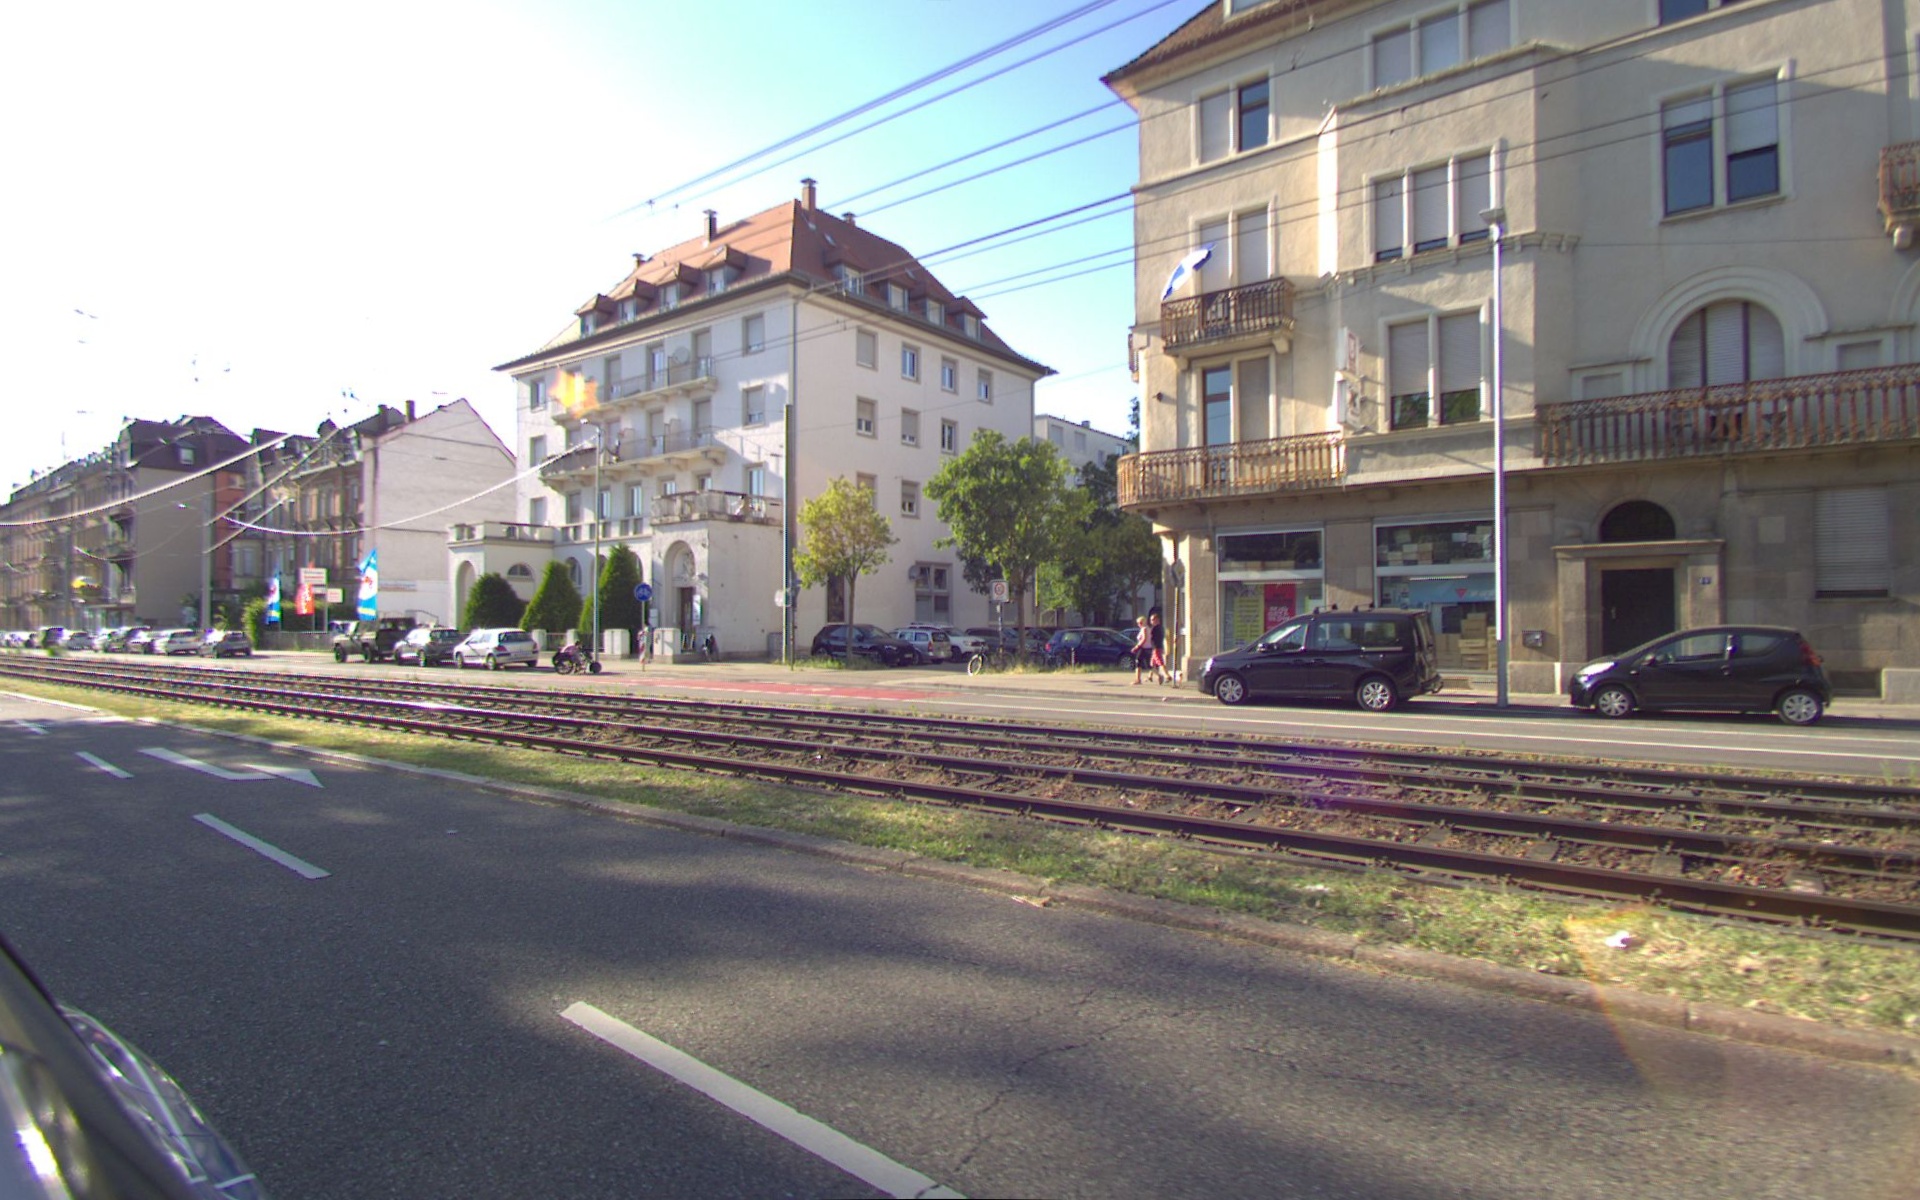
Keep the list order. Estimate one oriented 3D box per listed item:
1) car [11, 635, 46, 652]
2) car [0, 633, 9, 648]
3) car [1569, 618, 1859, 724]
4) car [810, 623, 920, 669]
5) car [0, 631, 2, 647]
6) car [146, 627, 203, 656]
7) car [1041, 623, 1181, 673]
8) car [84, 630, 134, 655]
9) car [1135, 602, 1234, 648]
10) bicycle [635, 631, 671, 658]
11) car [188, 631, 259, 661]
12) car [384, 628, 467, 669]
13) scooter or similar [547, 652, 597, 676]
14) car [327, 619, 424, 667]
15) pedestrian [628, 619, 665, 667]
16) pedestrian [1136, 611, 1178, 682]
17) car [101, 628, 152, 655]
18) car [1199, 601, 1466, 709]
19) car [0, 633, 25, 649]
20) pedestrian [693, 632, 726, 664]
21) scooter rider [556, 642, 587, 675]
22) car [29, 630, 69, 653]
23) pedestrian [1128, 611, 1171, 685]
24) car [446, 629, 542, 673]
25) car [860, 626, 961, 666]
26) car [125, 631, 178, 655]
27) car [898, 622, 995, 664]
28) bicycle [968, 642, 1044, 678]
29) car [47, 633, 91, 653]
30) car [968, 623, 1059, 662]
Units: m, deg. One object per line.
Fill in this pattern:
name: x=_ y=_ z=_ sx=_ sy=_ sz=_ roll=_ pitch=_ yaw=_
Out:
car: x=-82.617 y=3.823 z=89.751 sx=3.975 sy=1.456 sz=1.644 roll=-2 pitch=0 yaw=38
car: x=-98.407 y=4.132 z=103.094 sx=3.760 sy=1.456 sz=1.644 roll=-2 pitch=0 yaw=38
car: x=11.804 y=1.062 z=16.053 sx=3.502 sy=1.401 sz=1.613 roll=-2 pitch=1 yaw=37
car: x=-3.769 y=1.758 z=39.897 sx=4.256 sy=1.653 sz=1.777 roll=0 pitch=-1 yaw=38
car: x=-101.980 y=4.099 z=106.126 sx=4.627 sy=1.655 sz=1.776 roll=-2 pitch=0 yaw=41
car: x=-49.703 y=2.581 z=64.029 sx=4.839 sy=1.707 sz=1.901 roll=-2 pitch=0 yaw=41
car: x=4.948 y=1.547 z=33.370 sx=4.230 sy=1.475 sz=1.760 roll=-1 pitch=1 yaw=31
car: x=-62.701 y=3.137 z=74.544 sx=4.620 sy=1.696 sz=1.902 roll=-2 pitch=-2 yaw=38
car: x=13.973 y=1.543 z=63.199 sx=5.586 sy=2.705 sz=2.251 roll=0 pitch=-1 yaw=35
bicycle: x=-12.762 y=1.850 z=42.025 sx=1.619 sy=1.096 sz=0.460 roll=-1 pitch=1 yaw=31
car: x=-42.407 y=2.628 z=58.232 sx=4.833 sy=1.471 sz=1.904 roll=-2 pitch=3 yaw=37
car: x=-22.336 y=1.987 z=42.259 sx=4.156 sy=1.518 sz=1.619 roll=-1 pitch=1 yaw=40
scooter or similar: x=-13.057 y=2.142 z=34.110 sx=1.542 sy=0.776 sz=0.810 roll=1 pitch=-2 yaw=-21
car: x=-26.885 y=1.929 z=46.472 sx=5.587 sy=2.025 sz=2.056 roll=-2 pitch=0 yaw=40
pedestrian: x=-12.017 y=1.629 z=38.807 sx=0.929 sy=1.791 sz=0.987 roll=-1 pitch=0 yaw=24
pedestrian: x=4.850 y=1.127 z=24.907 sx=0.854 sy=1.709 sz=0.585 roll=-1 pitch=0 yaw=30
car: x=-58.706 y=2.907 z=71.266 sx=4.494 sy=1.794 sz=1.902 roll=-2 pitch=0 yaw=39
car: x=7.025 y=1.004 z=19.286 sx=4.394 sy=1.800 sz=1.845 roll=-2 pitch=0 yaw=37
car: x=-90.905 y=3.886 z=96.706 sx=3.975 sy=1.456 sz=1.644 roll=-2 pitch=0 yaw=38
pedestrian: x=-9.772 y=1.854 z=39.518 sx=0.892 sy=1.196 sz=0.870 roll=-1 pitch=1 yaw=30
scooter rider: x=-13.095 y=1.954 z=34.100 sx=0.962 sy=1.097 sz=0.810 roll=1 pitch=-2 yaw=-21
car: x=-78.123 y=3.530 z=86.801 sx=4.720 sy=1.821 sz=1.644 roll=-2 pitch=0 yaw=37
pedestrian: x=4.534 y=1.140 z=24.258 sx=0.854 sy=1.709 sz=0.585 roll=-1 pitch=0 yaw=30
car: x=-17.892 y=1.919 z=38.832 sx=3.996 sy=1.521 sz=1.776 roll=-1 pitch=1 yaw=40
car: x=-2.076 y=1.884 z=42.051 sx=3.994 sy=1.522 sz=1.777 roll=0 pitch=-1 yaw=38
car: x=-54.116 y=2.857 z=67.683 sx=4.839 sy=1.572 sz=1.901 roll=-2 pitch=-2 yaw=41
car: x=-0.595 y=1.844 z=44.138 sx=3.994 sy=1.671 sz=1.777 roll=0 pitch=-1 yaw=38
bicycle: x=1.397 y=1.837 z=31.236 sx=2.411 sy=1.023 sz=0.677 roll=-2 pitch=0 yaw=41
car: x=-72.874 y=3.497 z=82.780 sx=4.621 sy=1.550 sz=1.902 roll=-1 pitch=-1 yaw=38
car: x=2.495 y=1.963 z=47.712 sx=3.994 sy=1.671 sz=1.777 roll=0 pitch=-1 yaw=38
